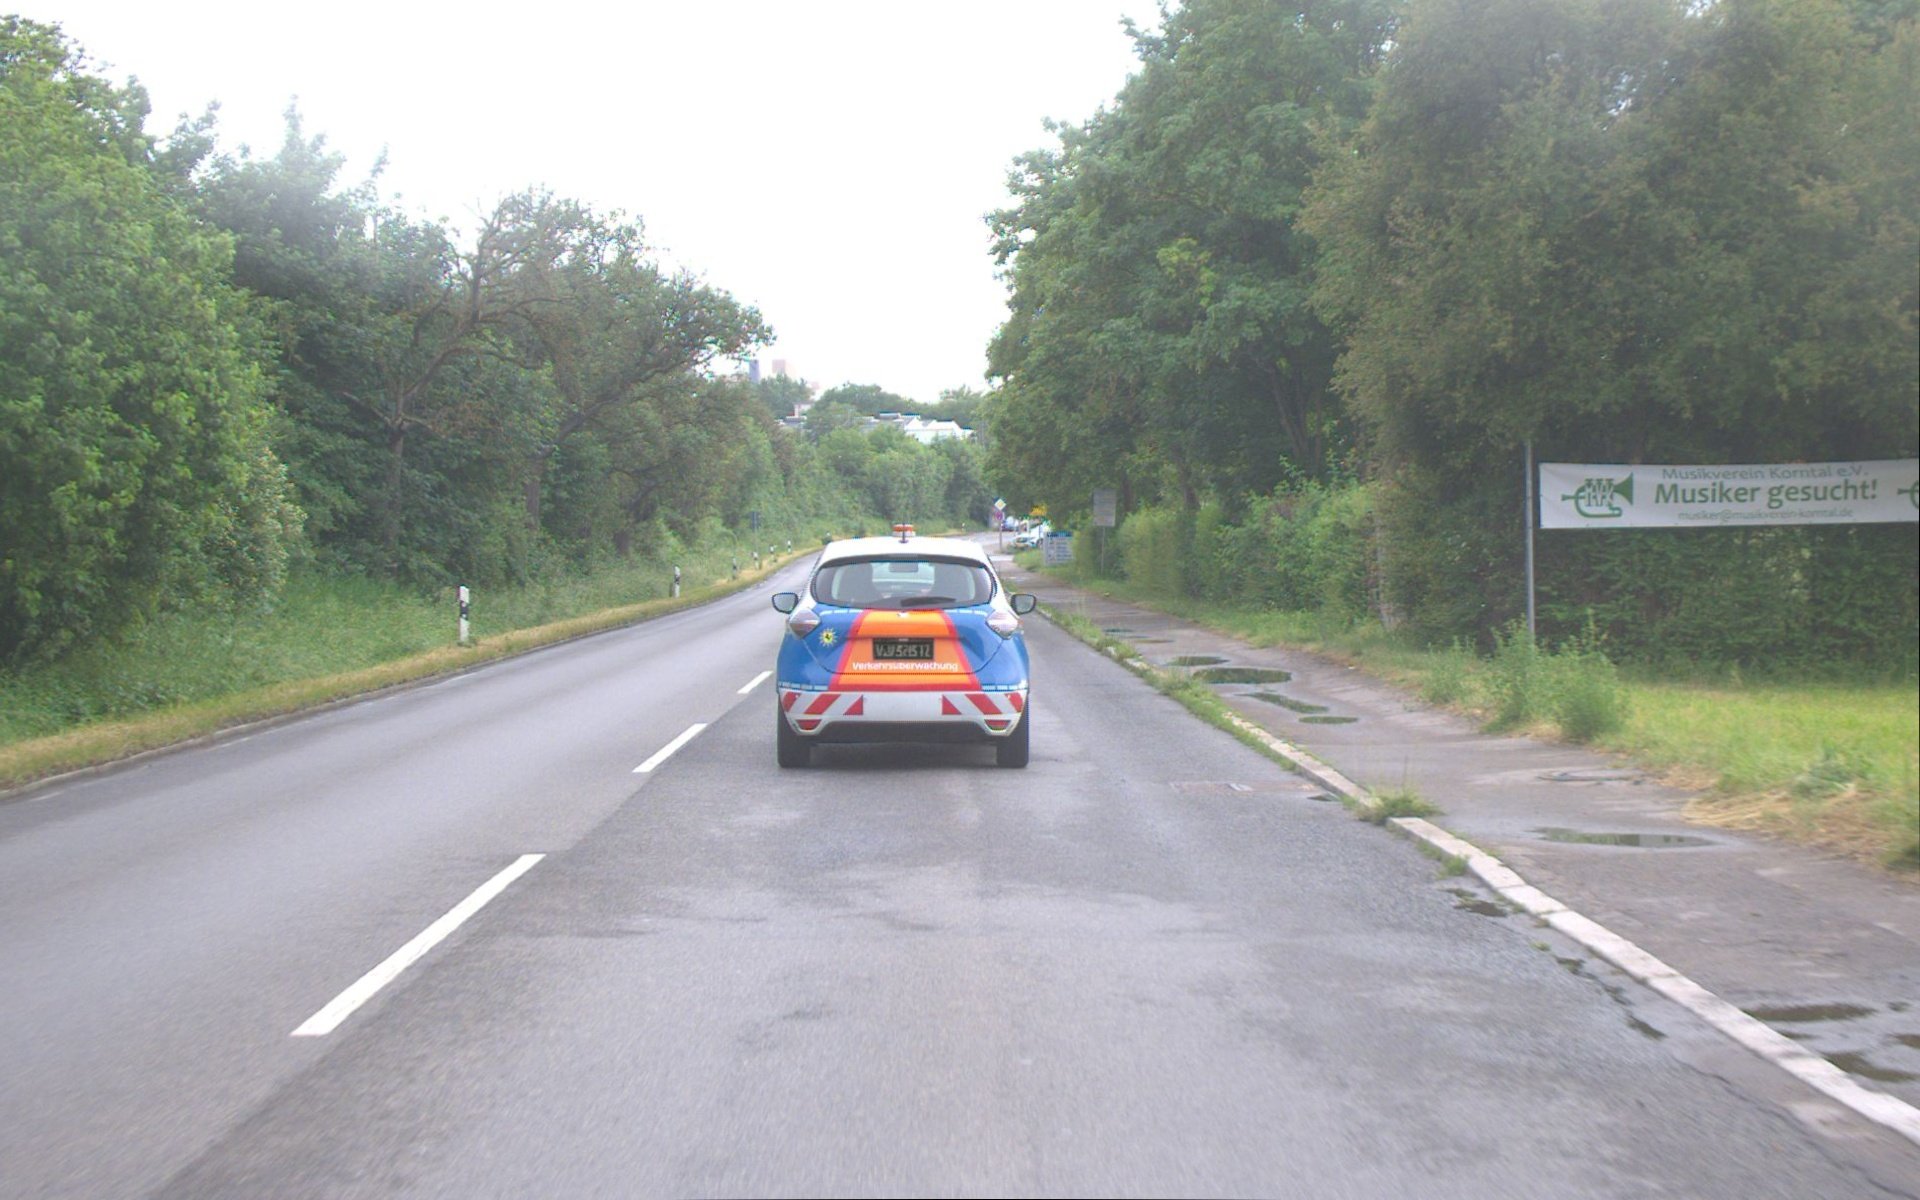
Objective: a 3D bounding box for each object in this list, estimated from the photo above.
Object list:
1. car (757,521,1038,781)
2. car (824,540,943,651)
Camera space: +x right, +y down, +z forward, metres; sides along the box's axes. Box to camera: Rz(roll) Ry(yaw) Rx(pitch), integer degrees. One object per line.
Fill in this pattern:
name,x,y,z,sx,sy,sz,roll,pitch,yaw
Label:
car,-0.431,0.307,24.407,1.806,1.662,3.856,1,1,-1
car,-1.123,-0.089,51.953,1.694,1.590,3.856,1,1,0
